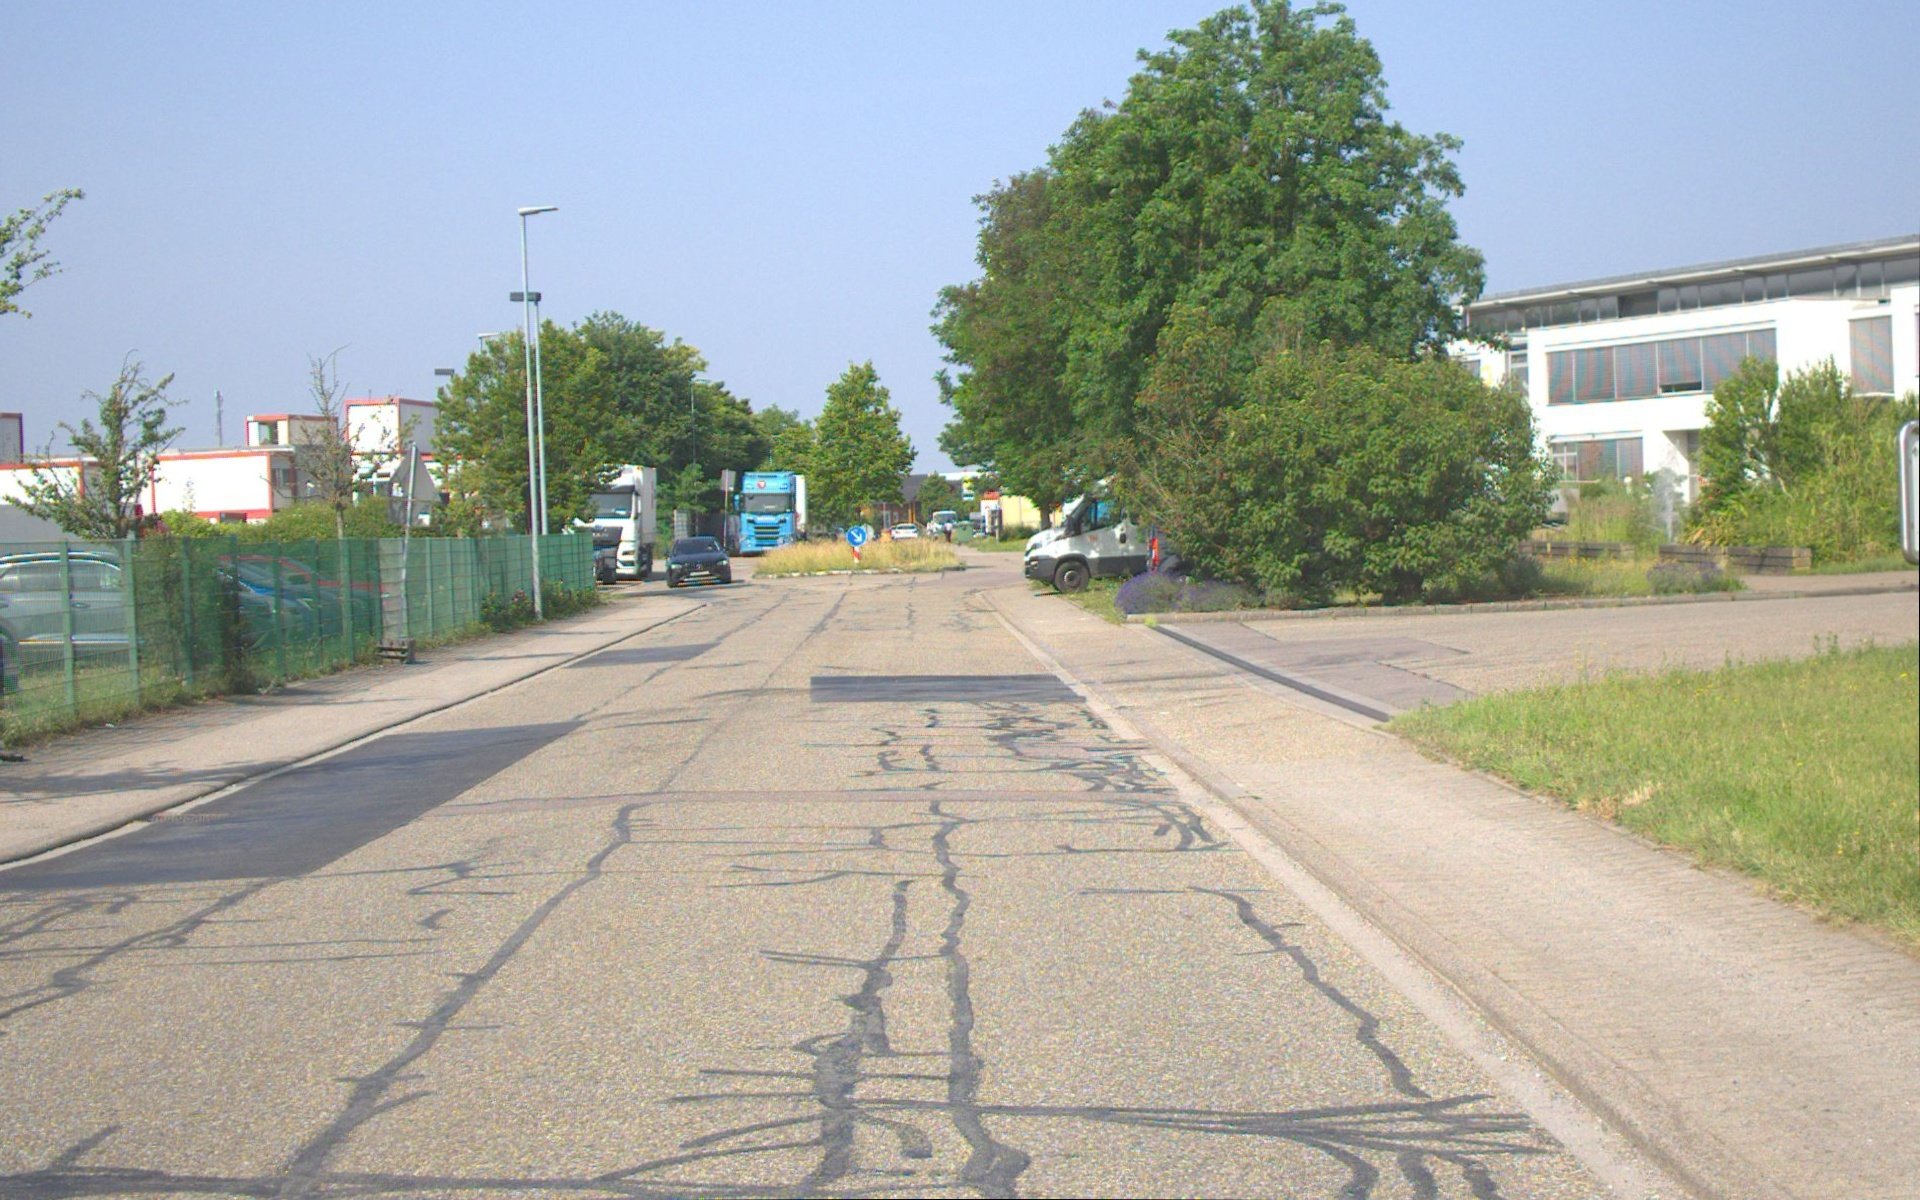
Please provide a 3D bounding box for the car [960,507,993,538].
[{"bbox_3d":[0.936,-4.484,199.862,1.792,1.744,4.000,0,1,-2],"label":"car"}]

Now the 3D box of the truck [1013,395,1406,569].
[{"bbox_3d":[5.390,-2.546,75.244,8.208,3.358,2.741,-3,1,-1],"label":"truck"}]

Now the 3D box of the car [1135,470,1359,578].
[{"bbox_3d":[5.369,-1.437,64.623,3.987,1.831,2.000,-2,1,1],"label":"car"}]

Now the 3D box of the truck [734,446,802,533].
[{"bbox_3d":[-8.833,-5.061,159.075,2.825,3.812,9.673,0,1,-1],"label":"truck"}]

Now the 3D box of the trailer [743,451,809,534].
[{"bbox_3d":[-9.005,-5.220,169.055,2.831,3.829,12.037,0,1,-1],"label":"trailer"}]

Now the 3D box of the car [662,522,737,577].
[{"bbox_3d":[-7.726,-1.516,102.290,1.993,1.444,4.420,-4,2,-2],"label":"car"}]

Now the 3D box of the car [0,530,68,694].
[{"bbox_3d":[-10.811,0.233,31.482,4.685,1.439,2.078,-4,1,-1],"label":"car"}]

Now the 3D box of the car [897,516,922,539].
[{"bbox_3d":[-3.637,-5.197,247.288,1.718,1.655,3.824,0,1,-3],"label":"car"}]

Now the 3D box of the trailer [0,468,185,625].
[{"bbox_3d":[-24.988,-1.398,91.100,2.483,4.027,13.879,0,1,15],"label":"trailer"}]

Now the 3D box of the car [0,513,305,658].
[{"bbox_3d":[-10.476,-0.179,43.046,4.127,1.562,1.865,-4,1,-1],"label":"car"}]

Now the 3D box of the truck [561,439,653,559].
[{"bbox_3d":[-11.751,-3.338,114.734,2.708,3.908,4.297,0,1,-1],"label":"truck"}]

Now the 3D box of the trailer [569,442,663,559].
[{"bbox_3d":[-11.857,-3.366,119.033,2.699,3.908,7.576,0,1,-1],"label":"trailer"}]
